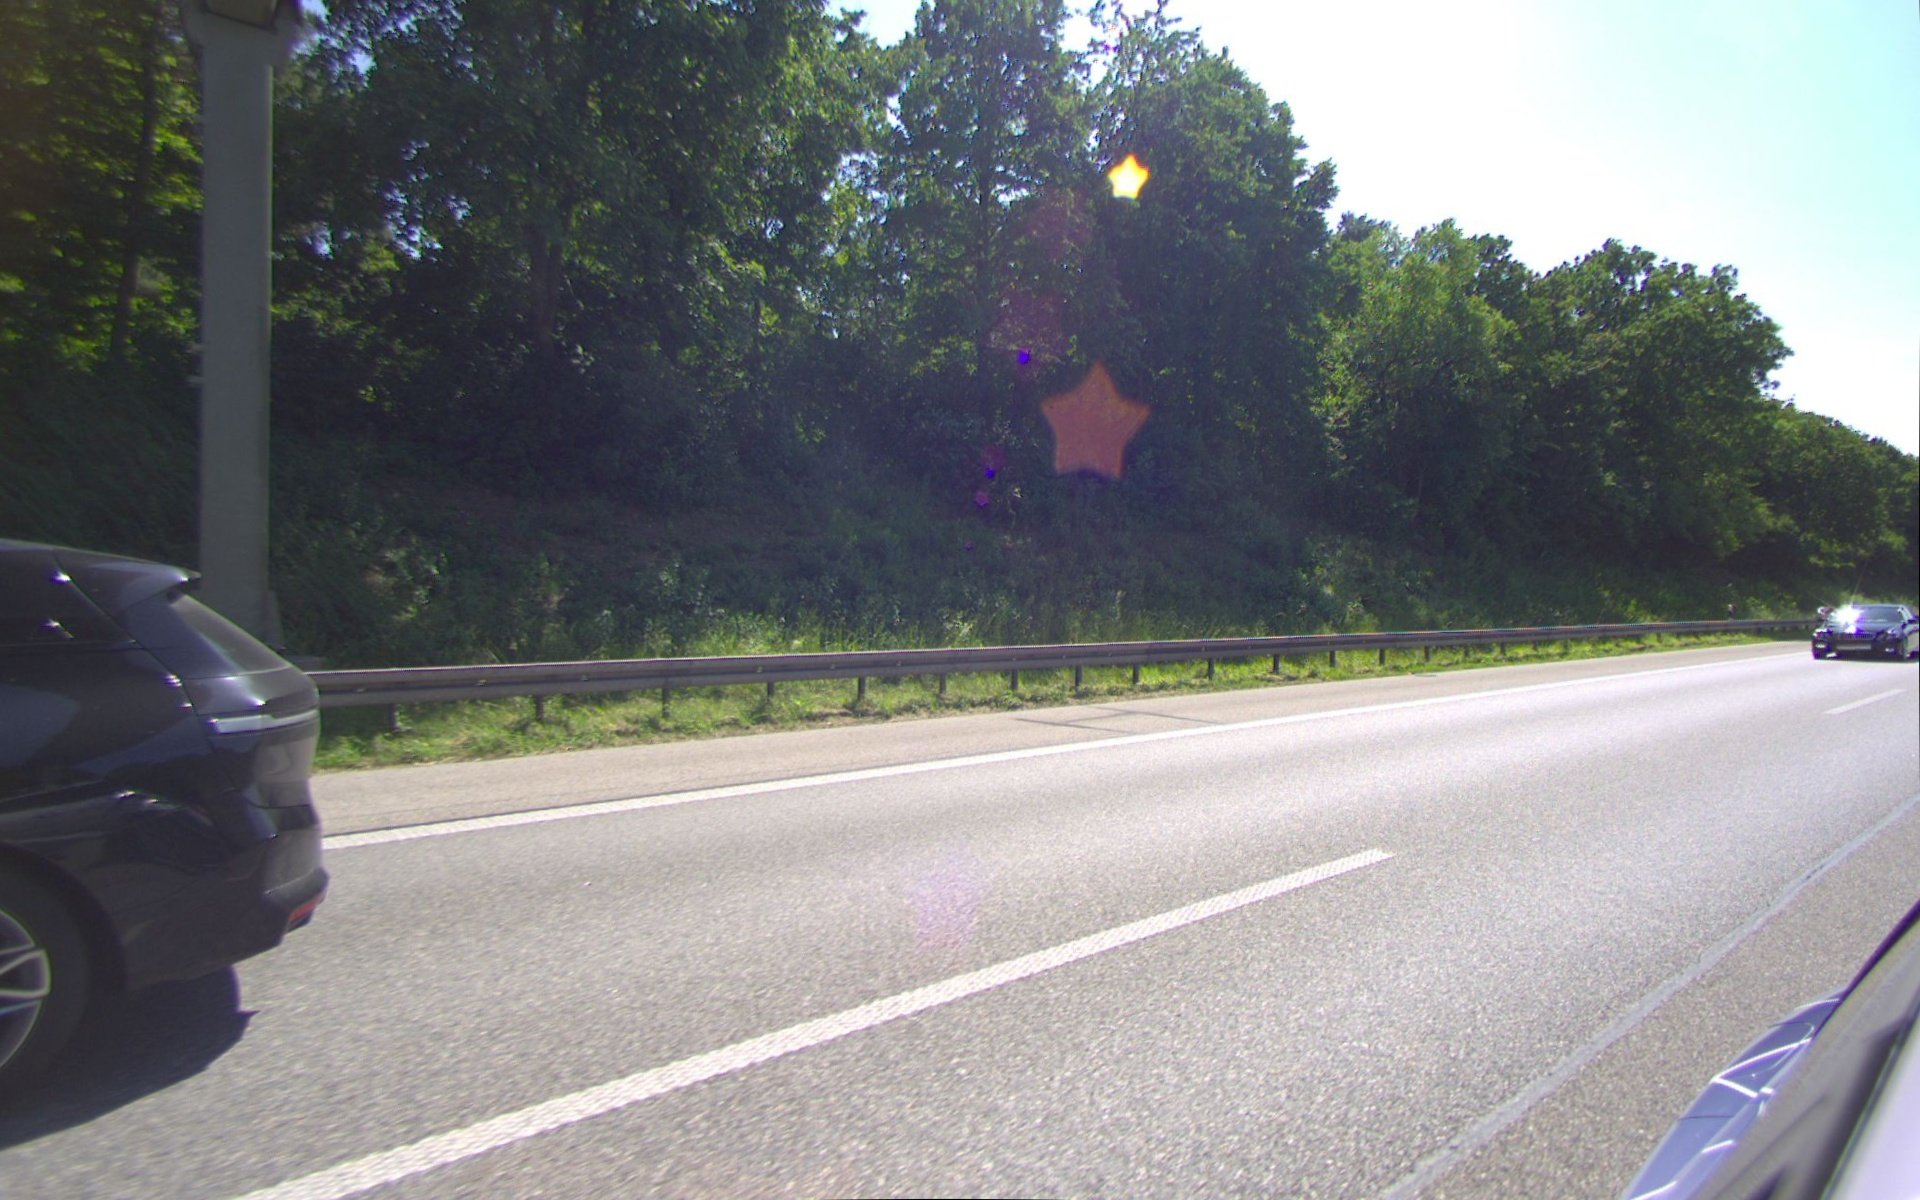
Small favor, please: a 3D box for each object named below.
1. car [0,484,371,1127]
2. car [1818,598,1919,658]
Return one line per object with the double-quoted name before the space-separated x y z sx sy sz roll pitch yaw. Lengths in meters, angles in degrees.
"car" -4.245 0.537 2.507 4.601 1.690 1.924 0 0 -39
"car" 24.326 0.677 26.743 4.065 1.415 1.915 0 1 -41
